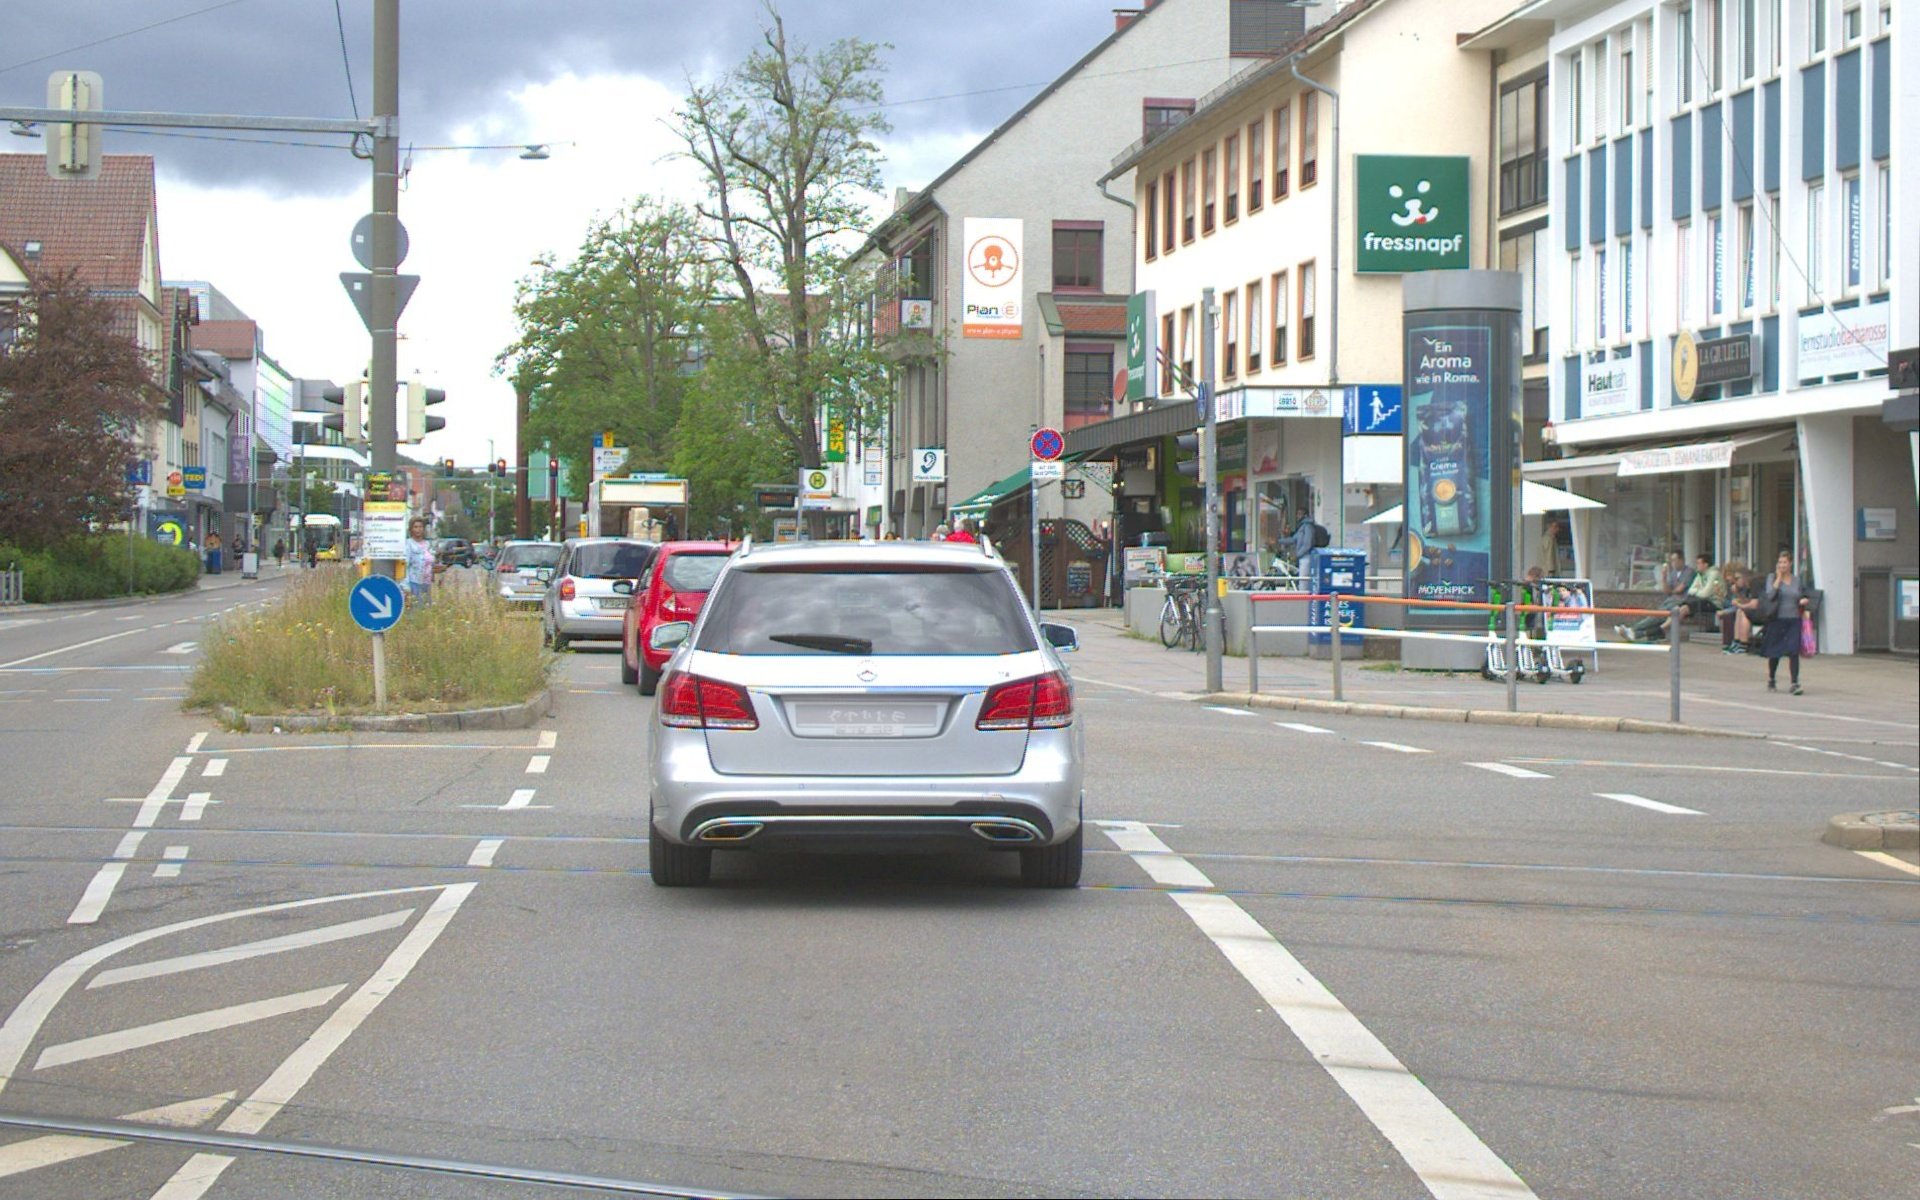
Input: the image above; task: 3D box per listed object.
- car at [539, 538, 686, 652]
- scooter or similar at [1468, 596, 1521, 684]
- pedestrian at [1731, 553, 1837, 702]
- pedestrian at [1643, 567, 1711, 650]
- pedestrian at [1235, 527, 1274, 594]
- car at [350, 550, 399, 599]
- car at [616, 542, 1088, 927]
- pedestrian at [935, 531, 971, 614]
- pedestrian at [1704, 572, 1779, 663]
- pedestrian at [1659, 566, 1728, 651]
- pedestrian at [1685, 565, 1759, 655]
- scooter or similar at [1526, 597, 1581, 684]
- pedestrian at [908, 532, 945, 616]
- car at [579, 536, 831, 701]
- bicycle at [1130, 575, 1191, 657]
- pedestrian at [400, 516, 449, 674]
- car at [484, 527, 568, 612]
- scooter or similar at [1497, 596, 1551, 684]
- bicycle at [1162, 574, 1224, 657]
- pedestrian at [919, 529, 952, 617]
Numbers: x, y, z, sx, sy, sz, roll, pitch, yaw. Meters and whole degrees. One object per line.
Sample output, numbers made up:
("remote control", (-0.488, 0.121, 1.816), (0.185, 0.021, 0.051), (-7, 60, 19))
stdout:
("car", (-4.838, -0.097, 47.495), (1.734, 1.503, 4.001), (0, 1, -10))
("scooter or similar", (6.223, 0.456, 40.056), (0.271, 0.998, 1.029), (0, 1, -11))
("pedestrian", (8.959, 0.290, 37.392), (0.640, 1.586, 0.898), (1, 0, -28))
("pedestrian", (10.195, 0.121, 48.886), (0.736, 1.160, 0.643), (1, 0, -10))
("pedestrian", (5.390, -0.721, 62.936), (0.533, 1.214, 0.580), (1, 0, -10))
("car", (-24.848, -1.103, 145.965), (1.993, 2.007, 4.001), (1, 1, -10))
("car", (-0.392, 0.490, 15.534), (1.846, 1.503, 4.171), (0, 1, 1))
("pedestrian", (-0.127, -0.498, 61.860), (0.578, 1.464, 0.651), (1, 0, -3))
("pedestrian", (10.219, 0.224, 44.974), (0.736, 1.160, 0.643), (1, 0, -10))
("pedestrian", (10.291, 0.116, 48.232), (0.736, 1.160, 0.643), (1, 0, -10))
("pedestrian", (10.112, 0.128, 45.618), (0.736, 1.160, 0.643), (1, 0, -10))
("scooter or similar", (6.937, 0.467, 40.219), (0.271, 0.998, 1.029), (0, 1, -11))
("pedestrian", (-0.576, -0.452, 59.289), (0.578, 1.430, 0.651), (1, 0, -2))
("car", (-2.548, 0.142, 33.548), (1.734, 1.503, 4.001), (0, 1, -15))
("bicycle", (2.730, 0.205, 46.918), (0.448, 1.087, 2.150), (0, 1, -7))
("pedestrian", (-6.002, -0.055, 38.501), (0.533, 1.757, 0.580), (0, 1, -10))
("car", (-9.204, -0.664, 73.051), (1.734, 1.753, 4.001), (0, 1, -7))
("scooter or similar", (6.580, 0.458, 40.141), (0.271, 0.998, 1.029), (0, 1, -11))
("bicycle", (3.176, 0.198, 46.976), (0.448, 1.103, 2.150), (0, 1, -7))
("pedestrian", (-0.461, -0.520, 65.626), (0.578, 1.661, 0.651), (1, 0, -2))
